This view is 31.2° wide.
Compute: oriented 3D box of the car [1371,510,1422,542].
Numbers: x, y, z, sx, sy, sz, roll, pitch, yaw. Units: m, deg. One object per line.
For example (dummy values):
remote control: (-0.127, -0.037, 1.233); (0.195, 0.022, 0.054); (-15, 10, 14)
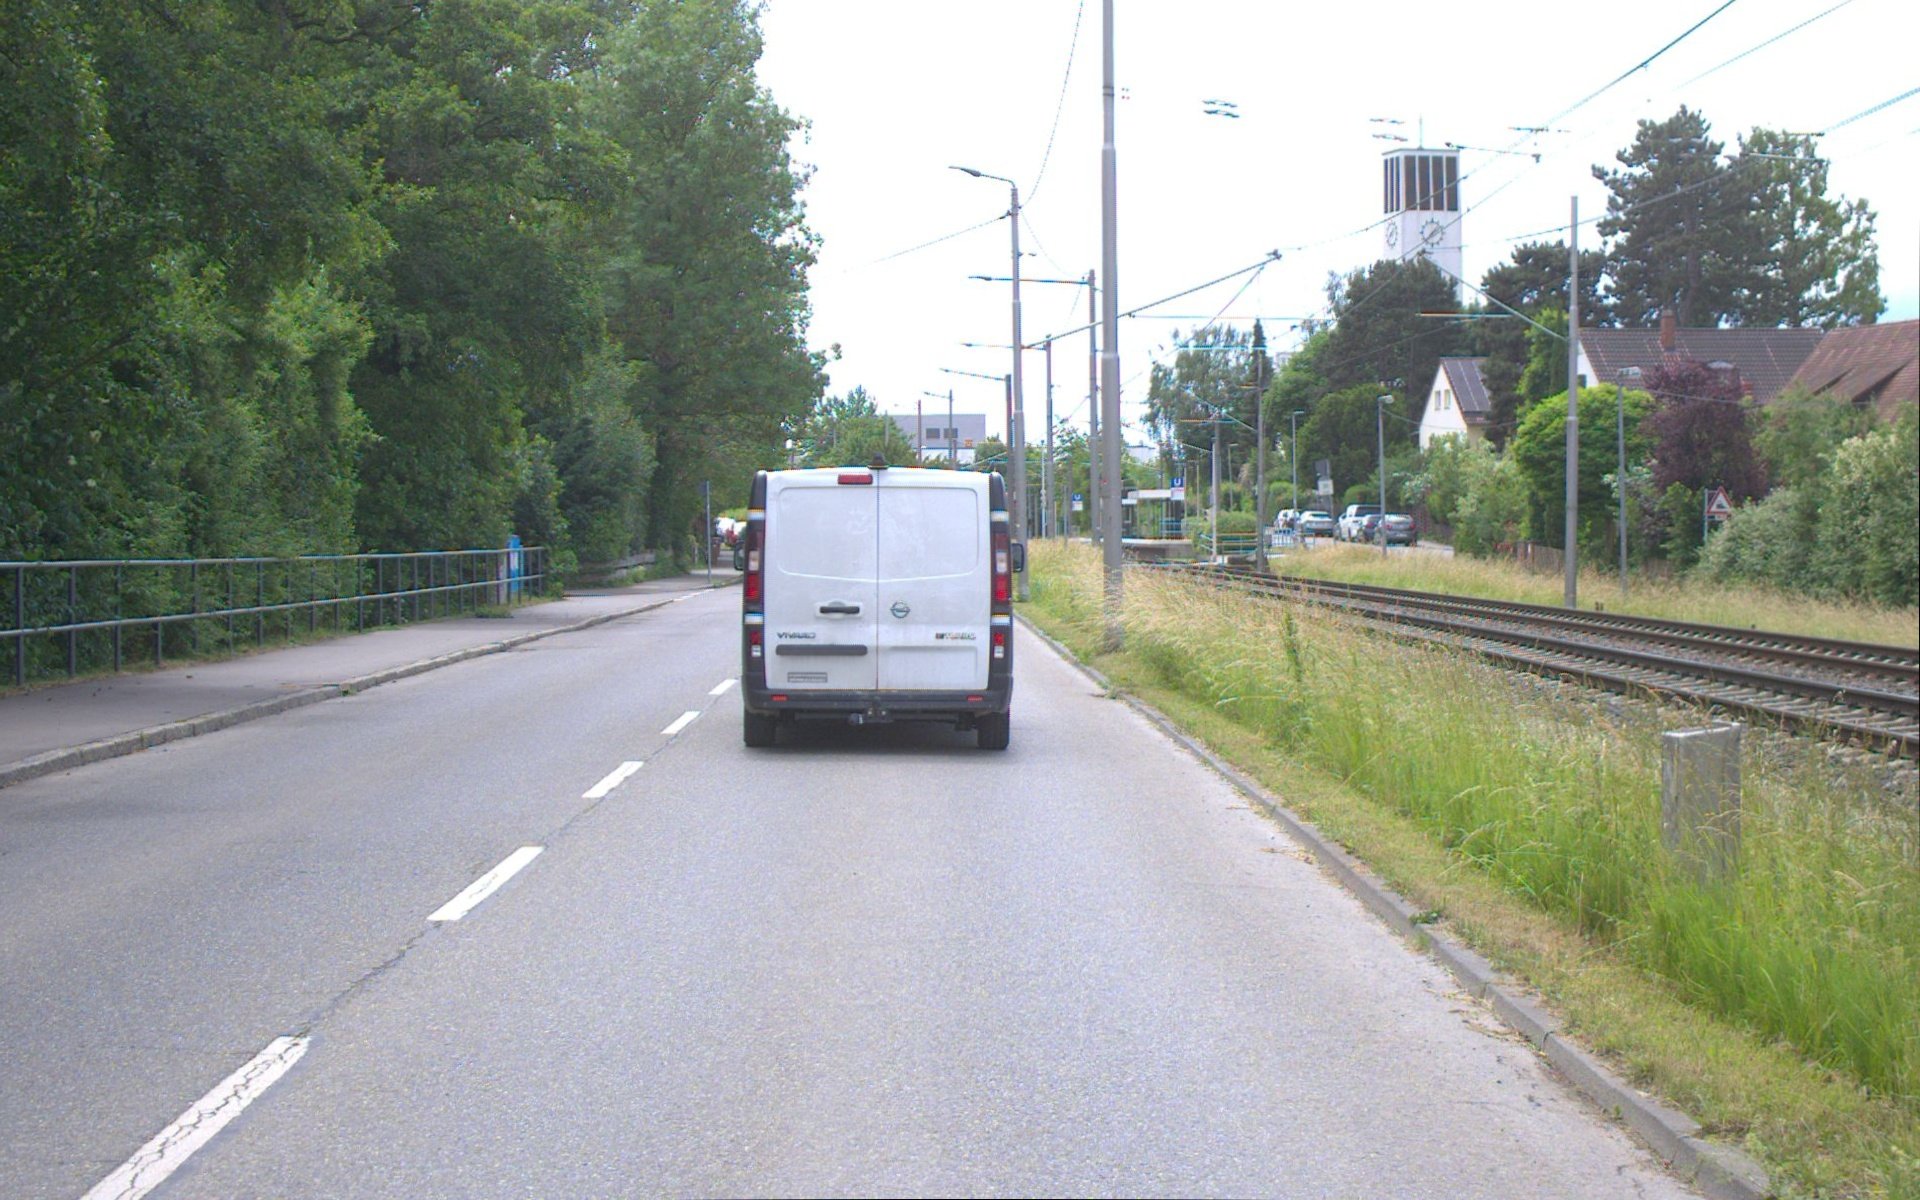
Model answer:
car: (20.750, -3.528, 163.498); (1.883, 1.517, 4.000); (0, 1, 0)

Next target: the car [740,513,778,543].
car: (-10.851, -3.892, 185.548); (1.736, 1.499, 4.479); (-2, 2, -7)

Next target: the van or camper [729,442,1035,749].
van or camper: (-0.538, -0.068, 25.050); (1.993, 2.007, 4.446); (1, 1, 0)

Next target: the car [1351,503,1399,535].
car: (20.459, -4.001, 169.691); (1.883, 1.517, 4.000); (0, 1, 0)

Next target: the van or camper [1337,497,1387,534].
van or camper: (20.380, -4.279, 174.408); (1.905, 1.819, 5.048); (0, 1, 0)

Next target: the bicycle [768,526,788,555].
bicycle: (-8.133, -2.655, 153.592); (0.755, 1.222, 2.308); (-2, 1, -1)

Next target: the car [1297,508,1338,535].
car: (20.399, -4.500, 196.201); (1.883, 1.517, 4.000); (0, 1, 0)

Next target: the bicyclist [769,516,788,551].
bicyclist: (-8.122, -2.993, 153.738); (0.778, 1.544, 0.870); (-1, 1, -1)
